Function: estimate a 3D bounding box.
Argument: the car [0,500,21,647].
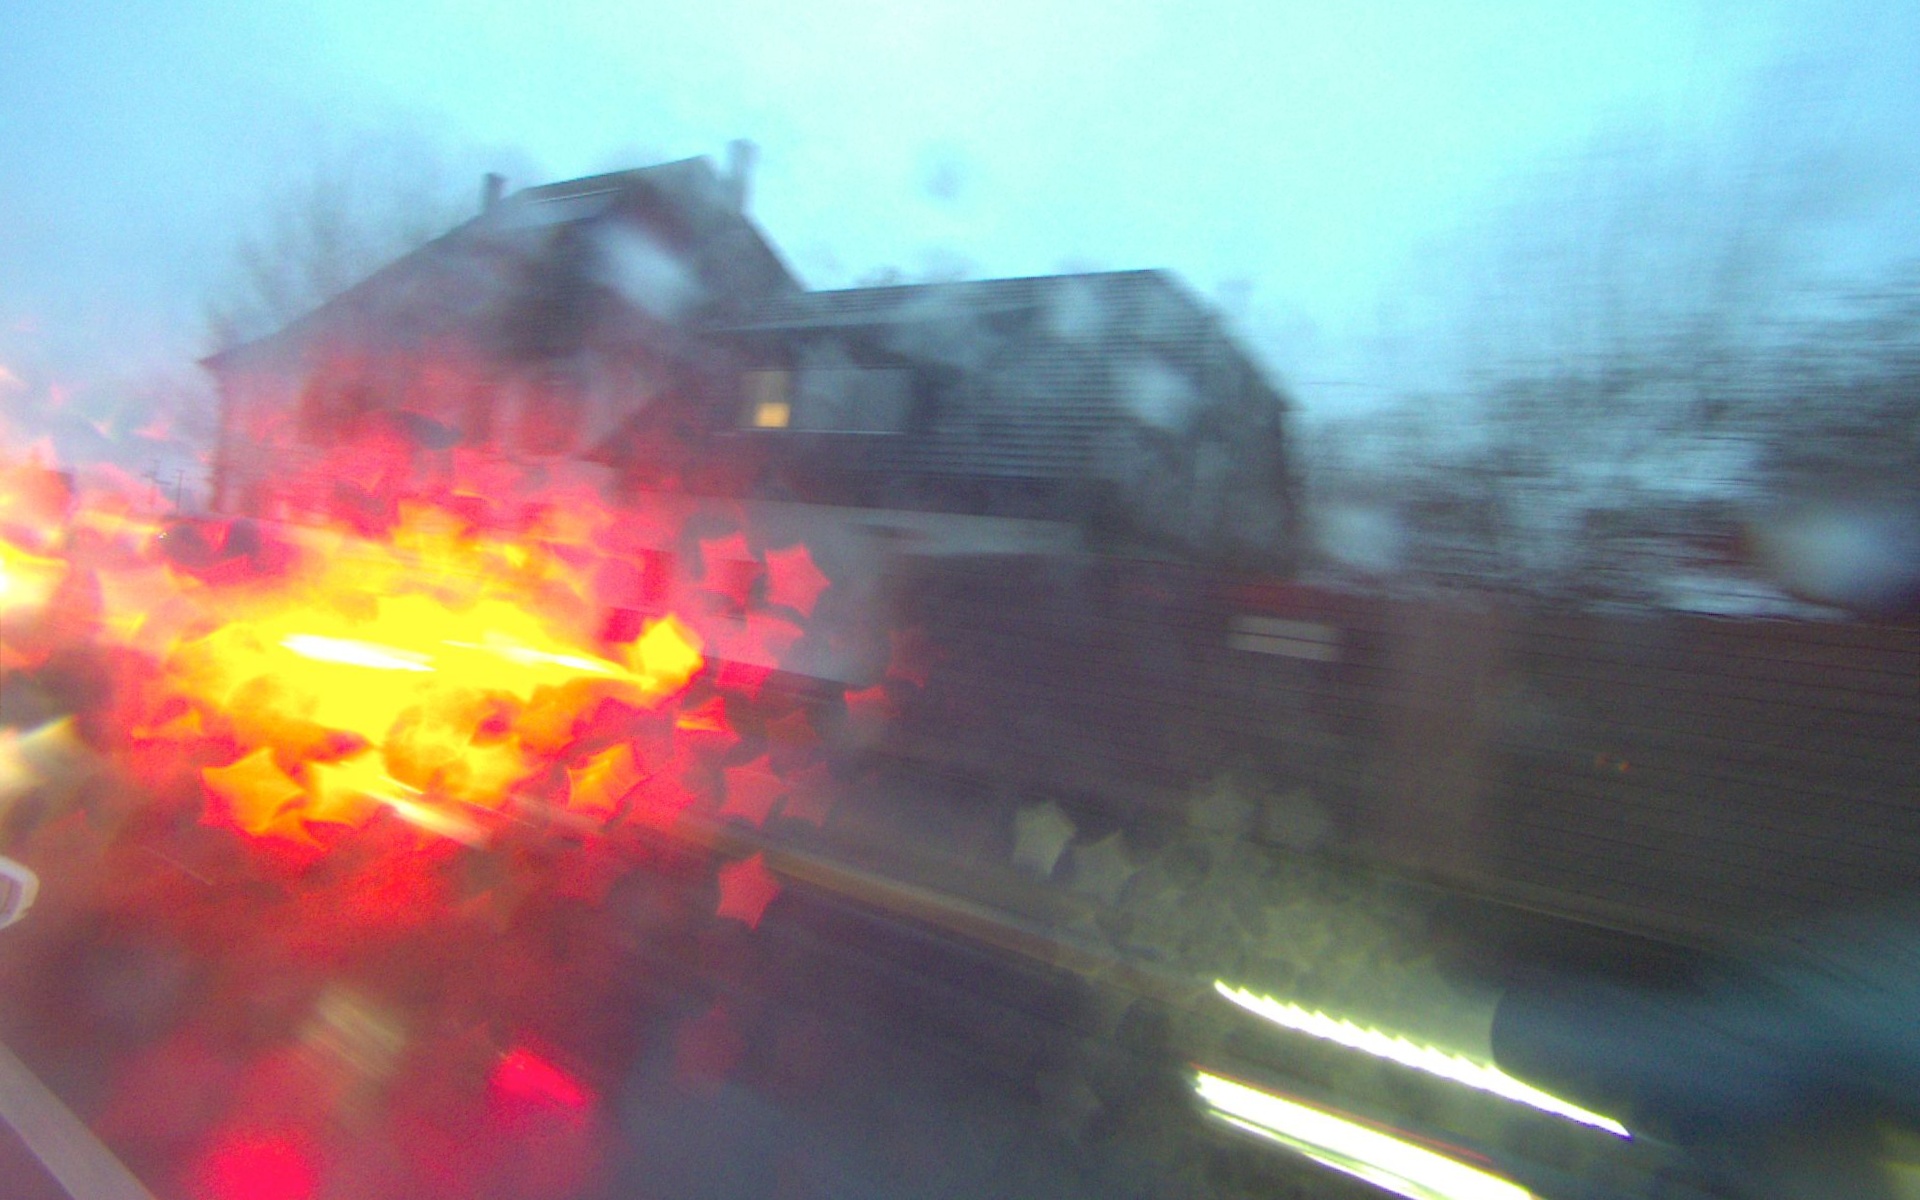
[{"bbox_3d":[-10.616,-0.435,9.273,4.309,1.455,1.666,7,-2,32],"label":"car"}]

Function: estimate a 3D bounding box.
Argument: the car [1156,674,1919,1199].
[{"bbox_3d":[2.637,1.197,1.634,4.201,1.488,1.705,7,-2,32],"label":"car"}]

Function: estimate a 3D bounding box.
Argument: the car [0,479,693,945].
[{"bbox_3d":[-3.837,0.350,5.633,4.429,1.586,1.840,7,-2,32],"label":"car"}]
